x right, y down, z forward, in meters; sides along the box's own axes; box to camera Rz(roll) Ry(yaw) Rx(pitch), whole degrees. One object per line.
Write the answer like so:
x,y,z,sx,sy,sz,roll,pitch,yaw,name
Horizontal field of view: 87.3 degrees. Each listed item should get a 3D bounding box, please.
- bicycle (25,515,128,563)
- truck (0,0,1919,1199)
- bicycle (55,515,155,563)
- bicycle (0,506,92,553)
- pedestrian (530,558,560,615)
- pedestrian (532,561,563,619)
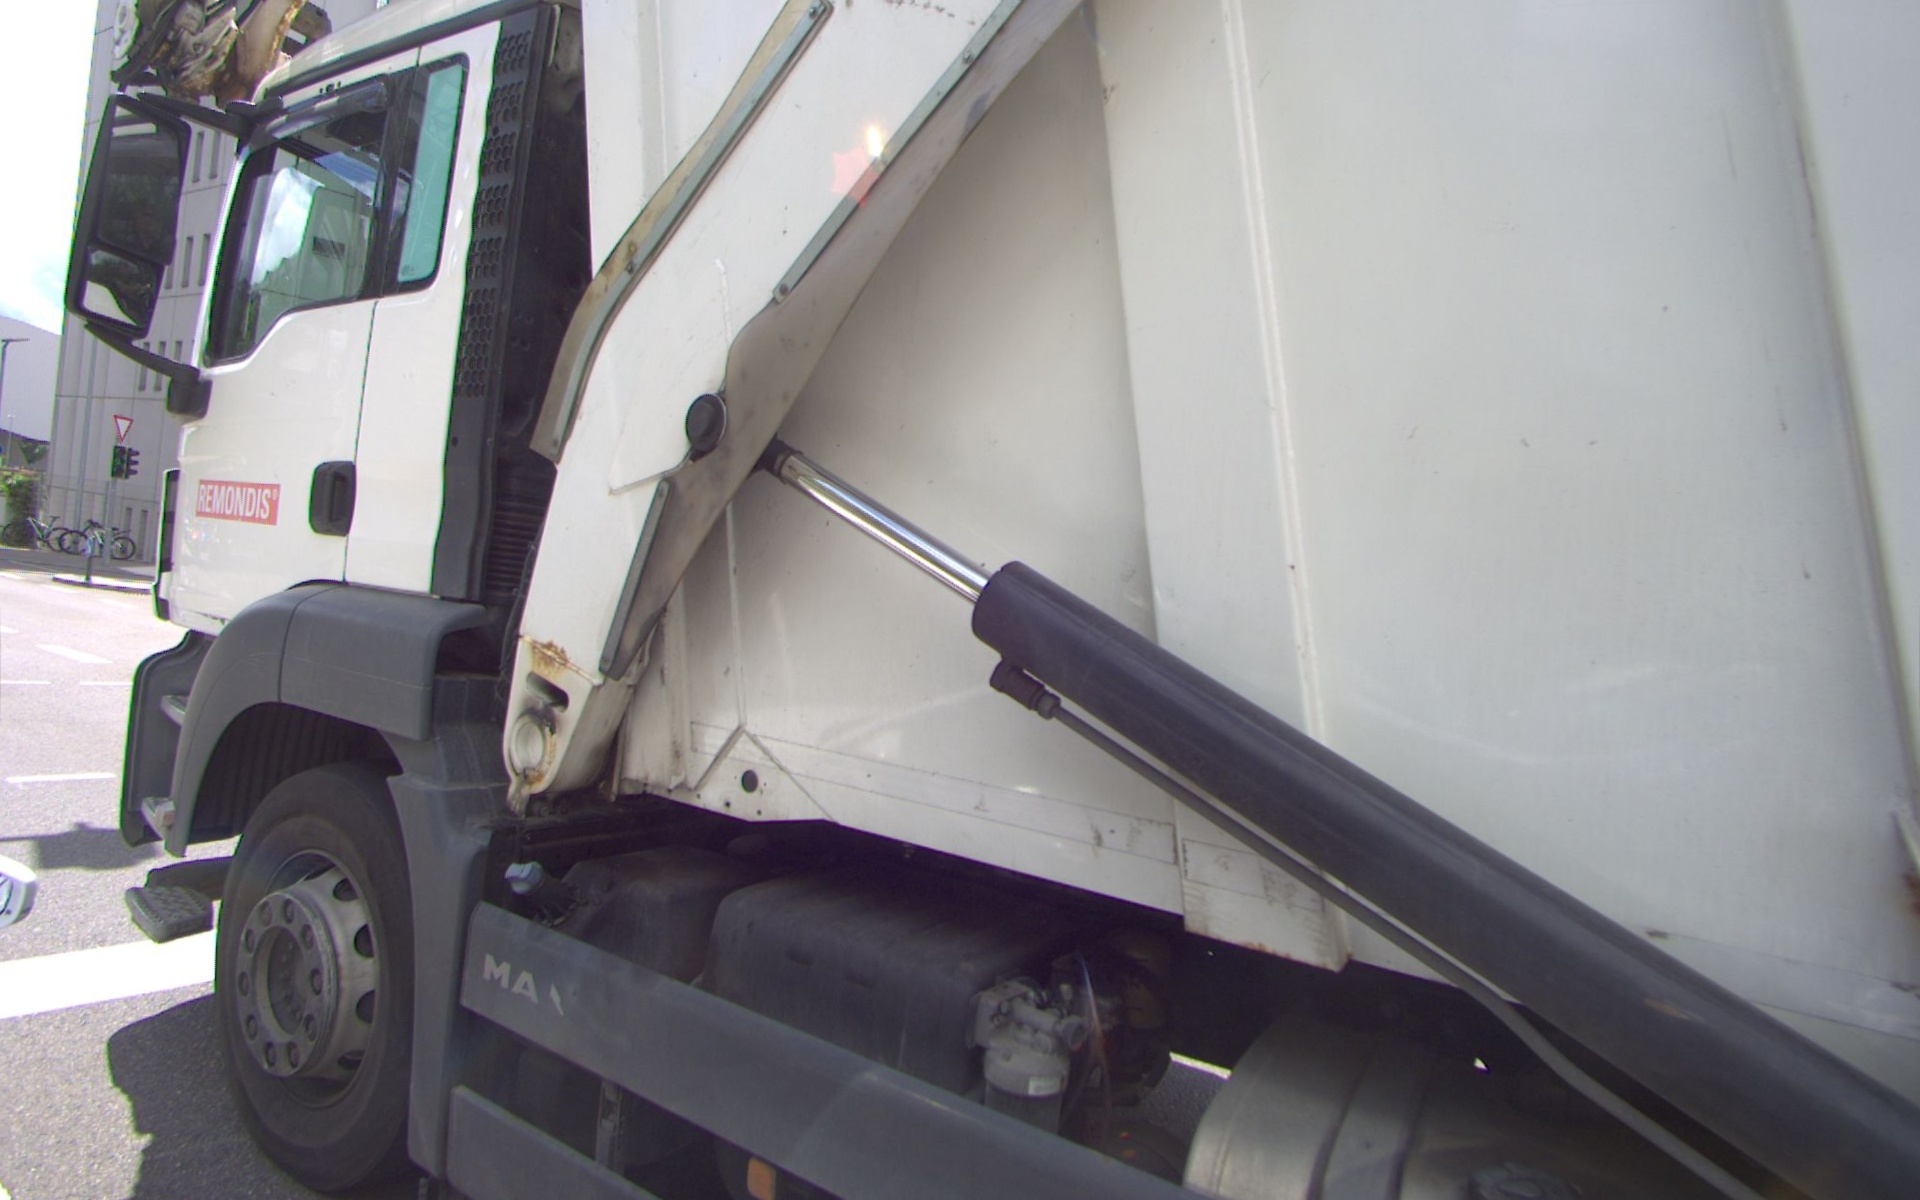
-26.729,-1.846,30.466,2.196,1.099,0.474,8,-2,-23,bicycle
2.211,-0.297,1.479,10.004,3.958,2.494,6,-2,31,truck
-25.727,-1.835,30.314,2.166,1.099,0.474,8,-2,-23,bicycle
-28.066,-2.142,30.753,2.196,1.099,0.474,8,-2,-23,bicycle
-13.773,-0.449,33.398,0.651,1.783,0.480,7,2,-31,pedestrian
-13.479,-0.320,32.861,0.651,1.778,0.516,7,3,-31,pedestrian
